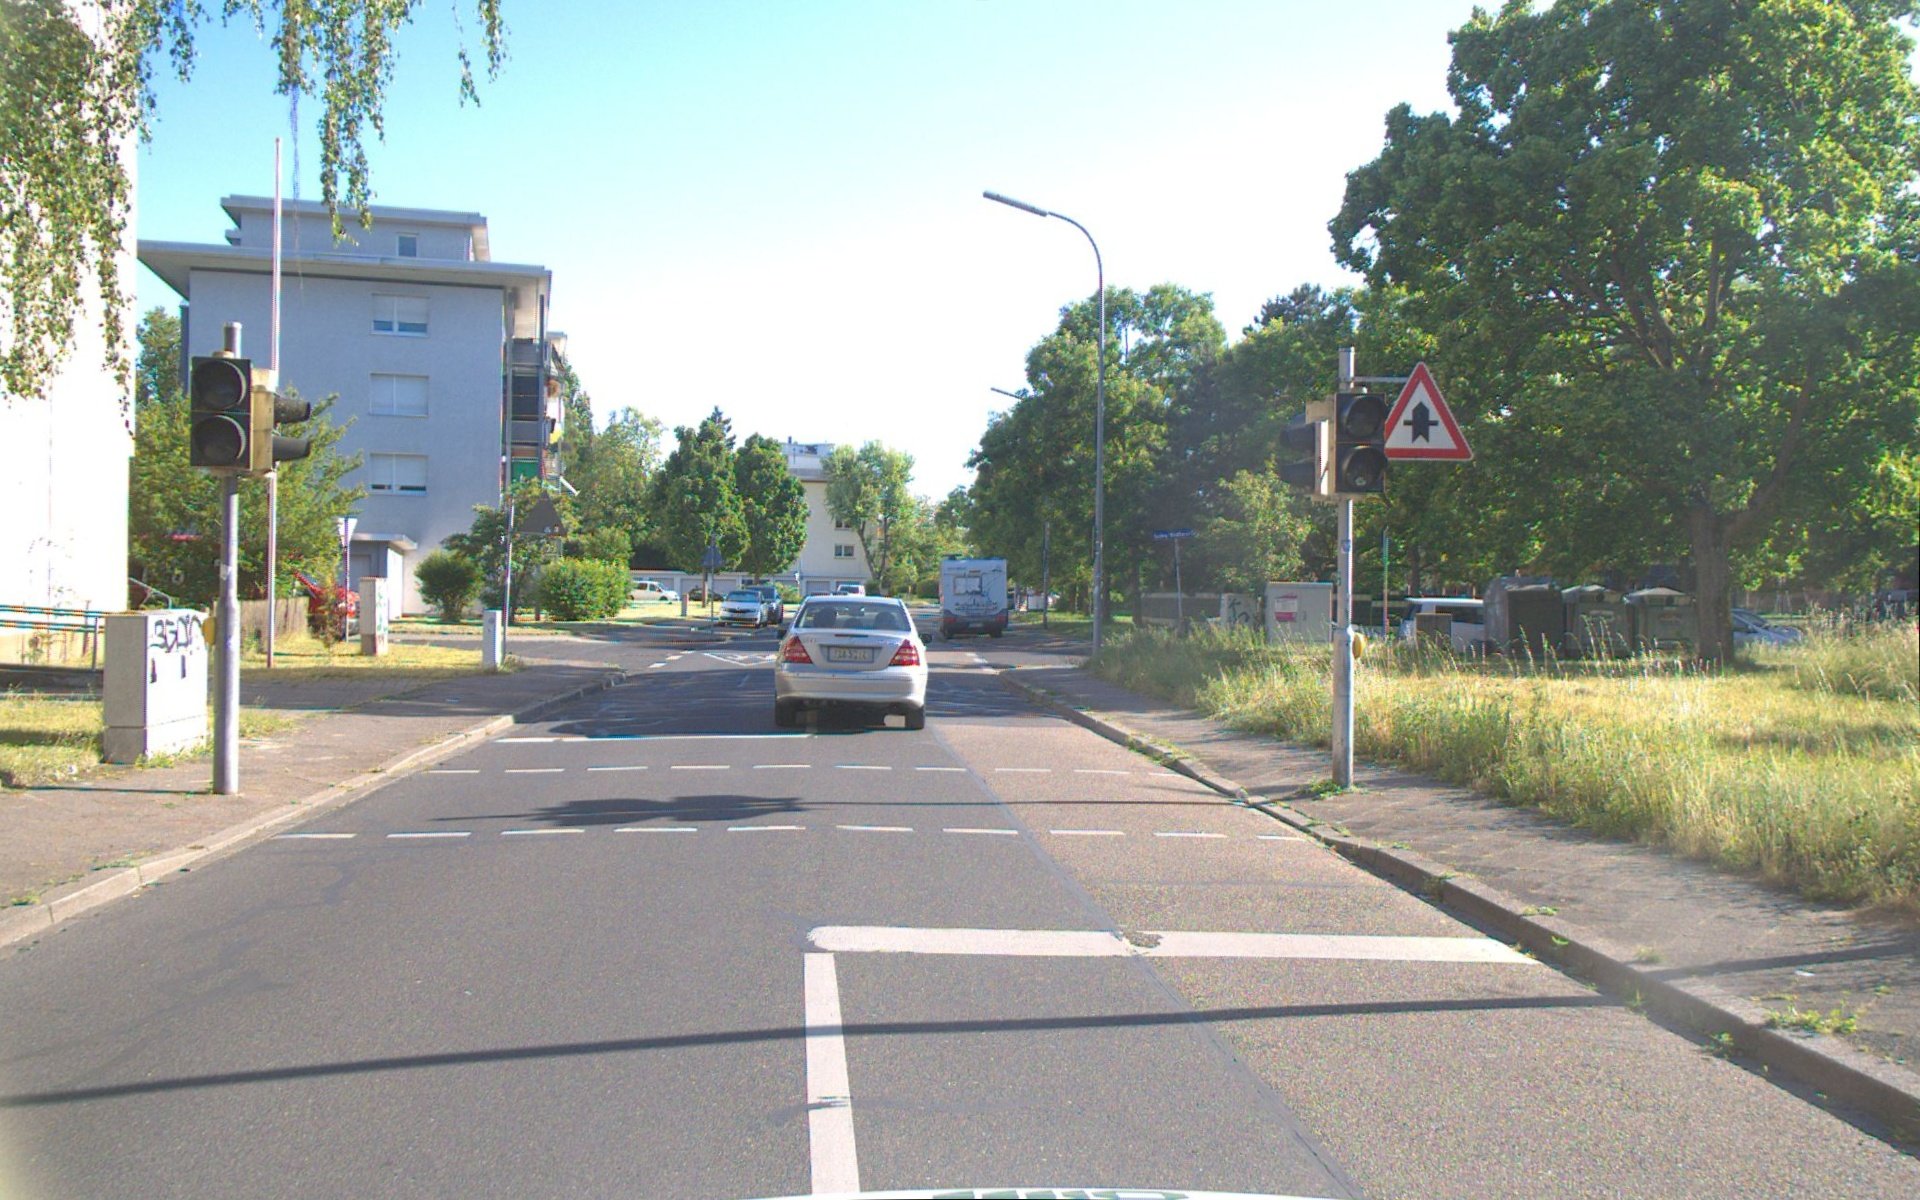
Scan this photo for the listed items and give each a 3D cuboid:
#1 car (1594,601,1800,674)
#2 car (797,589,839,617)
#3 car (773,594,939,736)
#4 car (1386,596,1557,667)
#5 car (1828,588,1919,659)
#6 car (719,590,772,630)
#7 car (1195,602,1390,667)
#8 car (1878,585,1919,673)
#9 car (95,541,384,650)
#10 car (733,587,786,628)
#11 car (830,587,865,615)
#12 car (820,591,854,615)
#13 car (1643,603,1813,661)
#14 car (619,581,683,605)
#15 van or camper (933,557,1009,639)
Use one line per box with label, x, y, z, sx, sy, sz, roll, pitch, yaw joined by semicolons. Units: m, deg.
car;17.471;0.873;39.362;4.017;1.568;1.974;1;1;2
car;-8.690;0.173;101.653;1.993;1.518;5.257;3;0;1
car;-1.235;0.670;18.831;1.699;1.459;3.434;0;0;-6
car;12.257;0.729;39.795;3.607;1.605;1.829;1;0;4
car;26.045;0.636;45.039;3.783;1.884;2.001;1;0;6
car;-8.587;0.384;66.570;1.613;1.492;4.330;2;0;-1
car;7.942;0.813;39.793;4.334;1.360;1.746;1;2;1
car;24.587;0.679;39.201;4.409;2.047;2.275;1;0;4
car;-16.837;-0.133;38.924;5.789;2.471;2.211;0;2;-5
car;-8.800;0.304;72.853;1.876;1.631;4.810;3;0;-3
car;-8.194;0.086;120.971;1.972;1.918;5.192;2;0;2
car;-8.474;0.194;114.478;1.795;1.544;4.222;3;0;2
car;20.868;0.853;45.051;3.786;1.421;1.787;1;2;-1
car;-26.855;-0.619;143.665;4.996;1.985;2.239;0;0;9
van or camper;0.326;-0.083;57.986;2.304;2.641;6.423;-2;0;-2
